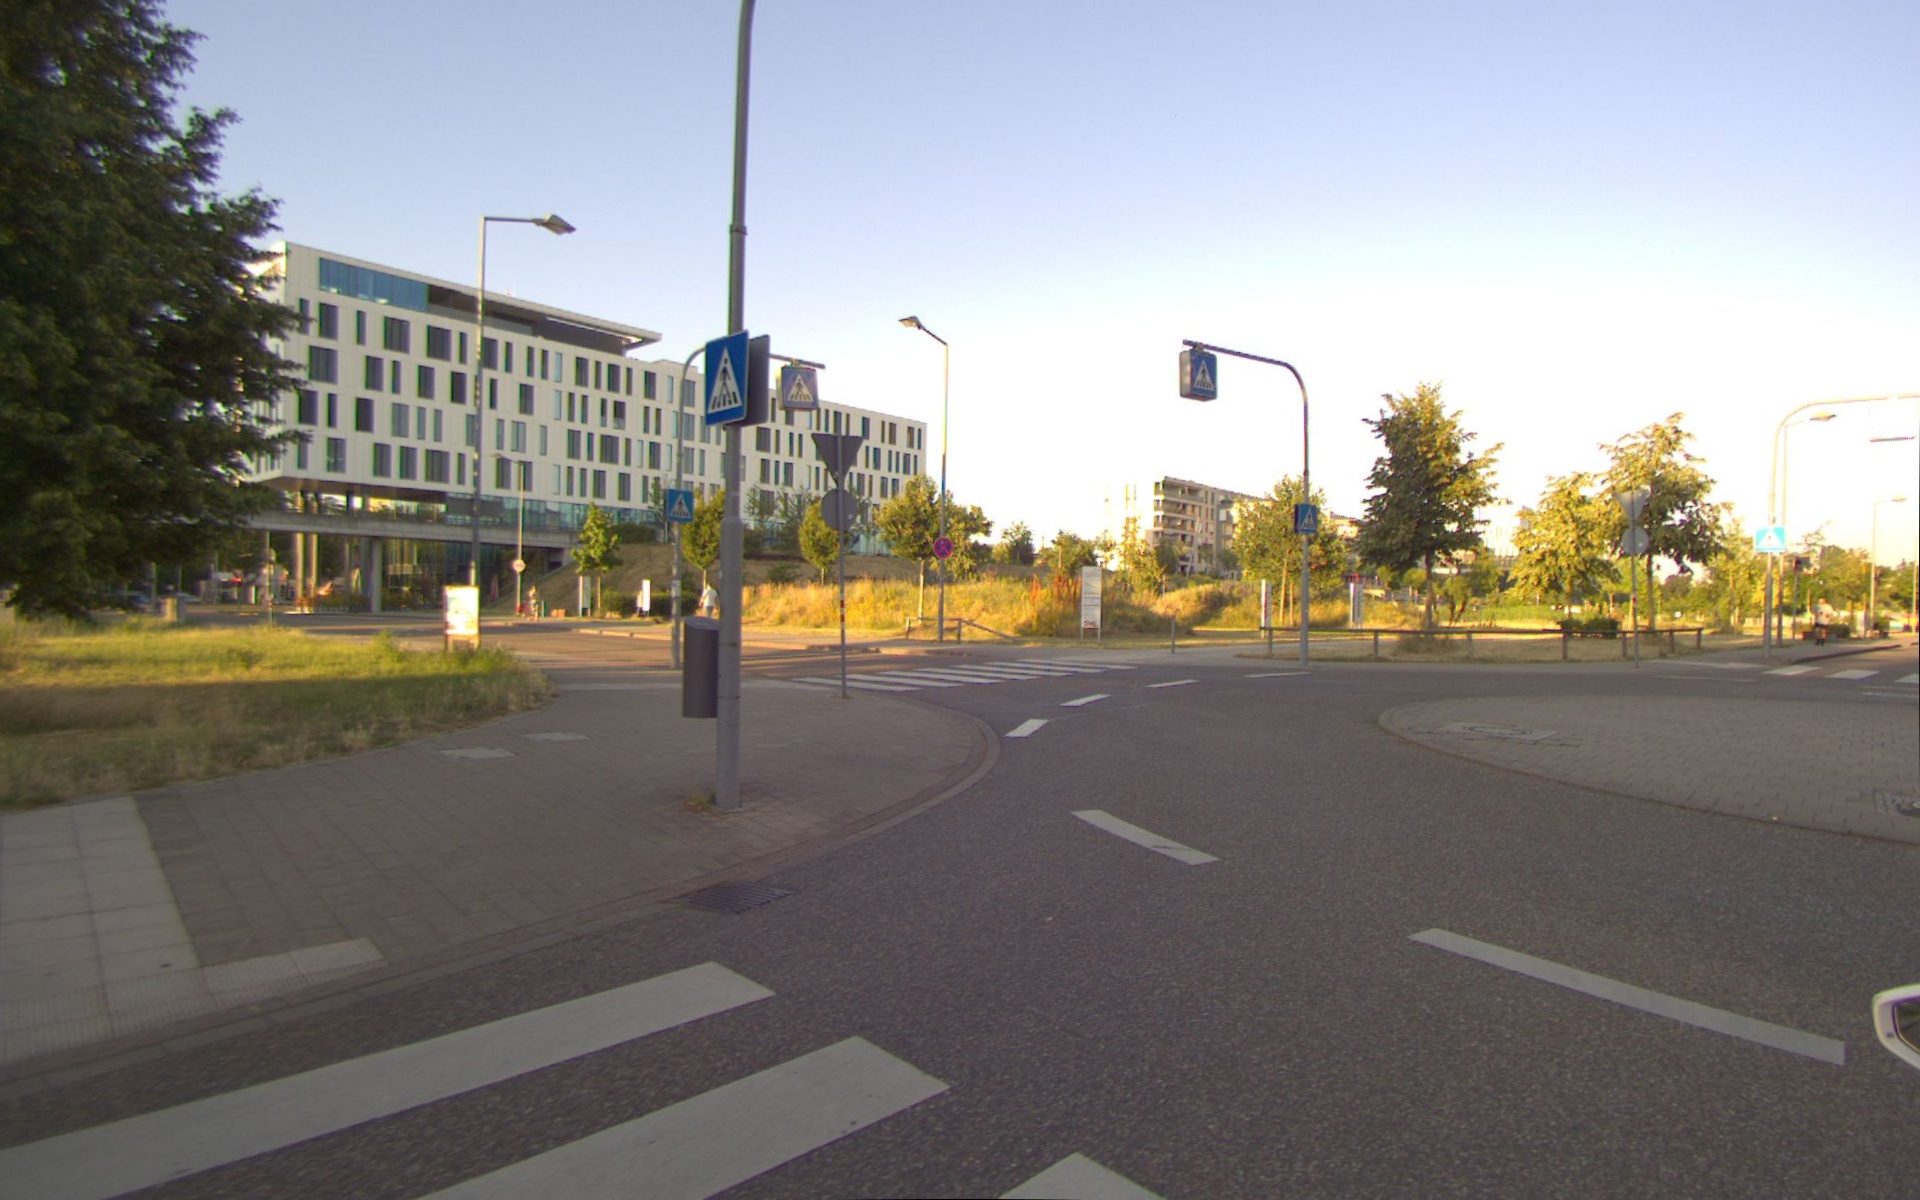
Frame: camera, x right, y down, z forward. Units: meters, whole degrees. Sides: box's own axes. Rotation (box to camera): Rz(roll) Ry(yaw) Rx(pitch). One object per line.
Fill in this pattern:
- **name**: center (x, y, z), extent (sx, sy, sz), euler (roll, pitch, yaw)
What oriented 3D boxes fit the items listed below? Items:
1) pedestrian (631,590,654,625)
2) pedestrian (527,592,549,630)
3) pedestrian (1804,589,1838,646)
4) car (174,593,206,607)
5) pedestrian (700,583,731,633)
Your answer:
- **pedestrian**: center (-18.502, 0.437, 58.536), extent (0.928, 2.046, 1.036), euler (1, 0, -39)
- **pedestrian**: center (-20.642, 0.529, 49.164), extent (0.807, 1.810, 0.780), euler (1, 0, -39)
- **pedestrian**: center (31.440, 0.634, 36.677), extent (0.855, 2.040, 0.786), euler (1, 0, 37)
- **car**: center (-127.871, -0.026, 166.862), extent (3.953, 2.041, 1.984), euler (2, 2, -30)
- **pedestrian**: center (-8.961, 0.291, 36.816), extent (0.784, 1.810, 0.858), euler (1, 0, -45)
